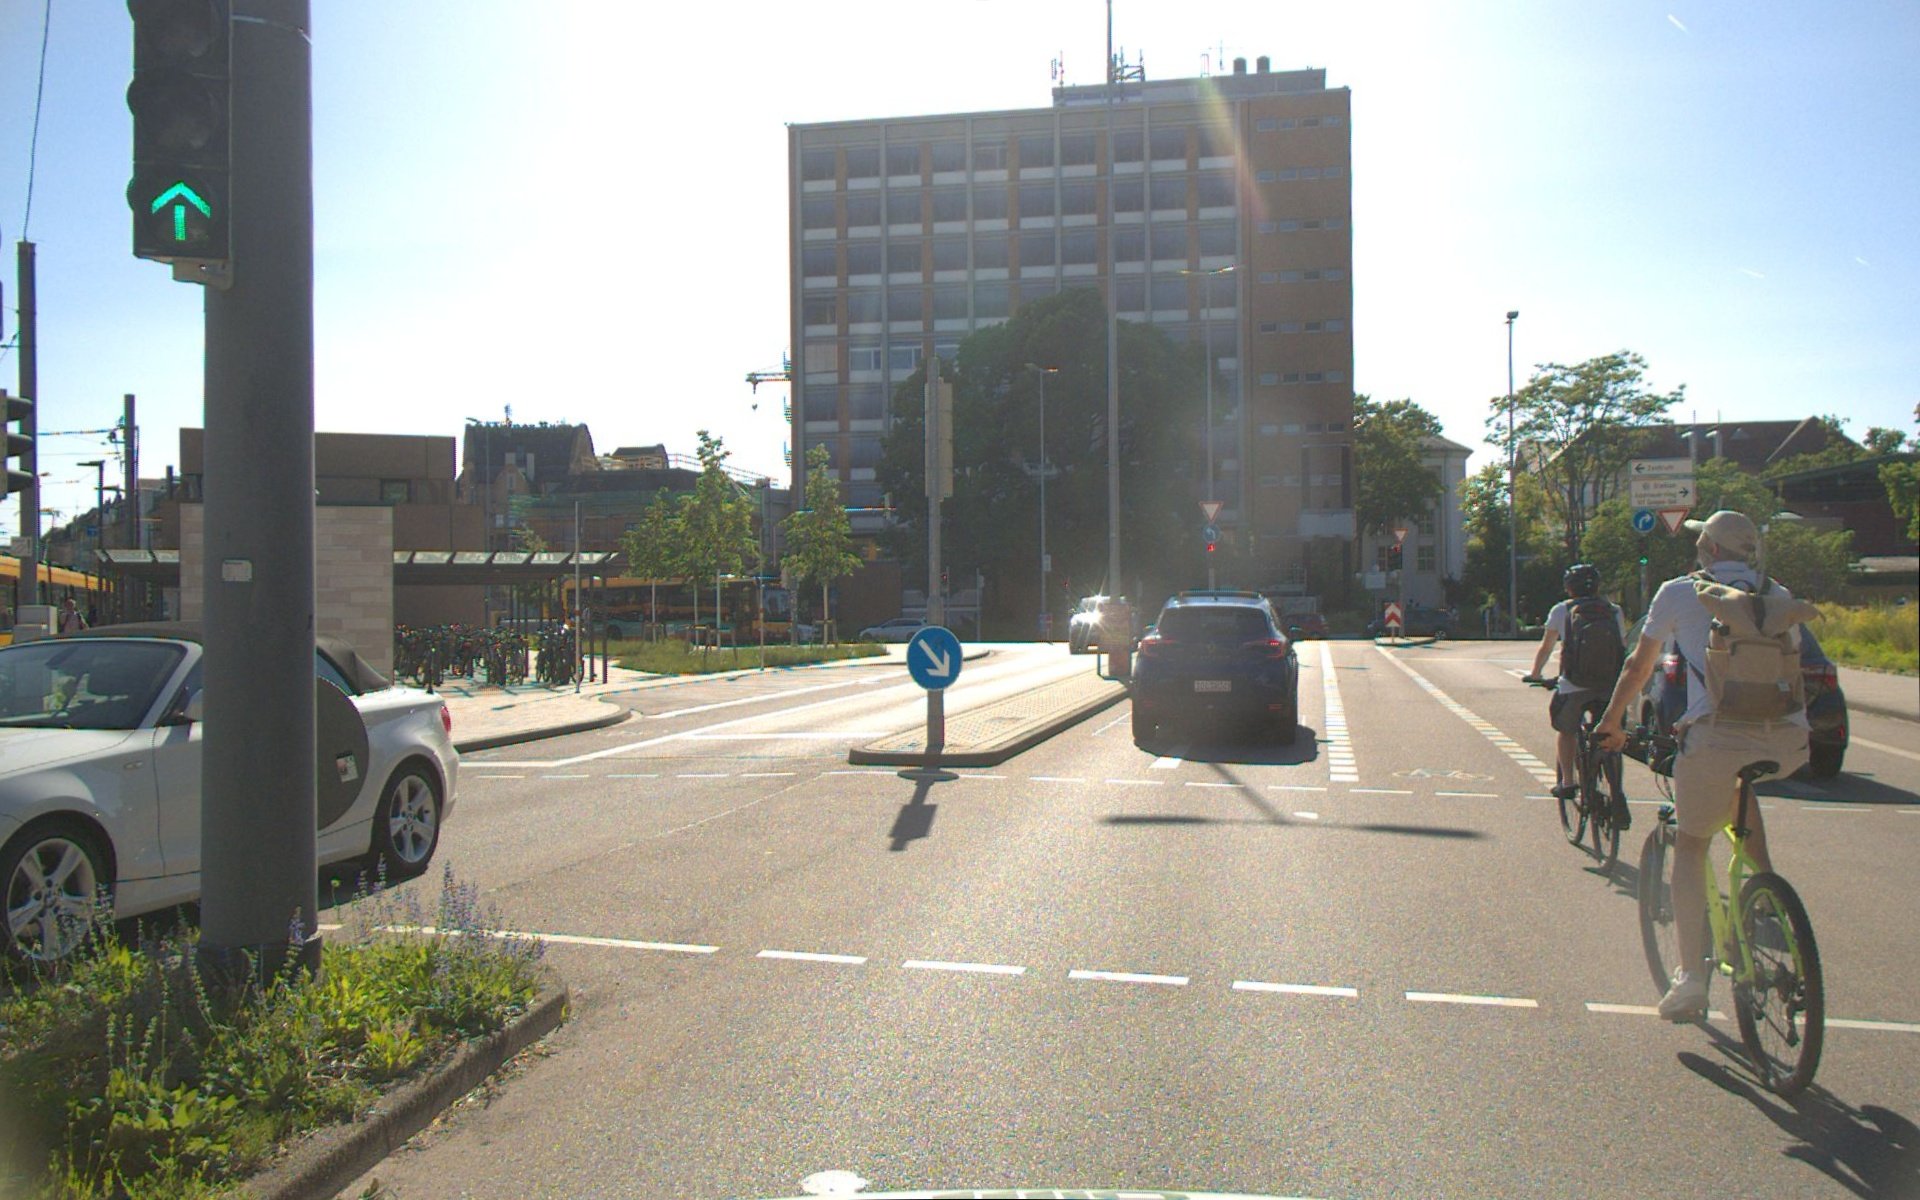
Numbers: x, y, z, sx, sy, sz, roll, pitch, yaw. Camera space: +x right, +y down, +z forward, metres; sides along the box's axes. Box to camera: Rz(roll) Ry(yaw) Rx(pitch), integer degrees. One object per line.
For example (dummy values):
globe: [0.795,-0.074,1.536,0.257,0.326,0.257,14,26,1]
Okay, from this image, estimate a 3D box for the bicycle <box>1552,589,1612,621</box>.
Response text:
bicycle: [30.877,0.250,82.152,2.742,1.568,0.885,0,-2,16]

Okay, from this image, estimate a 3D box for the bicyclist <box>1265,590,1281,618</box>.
bicyclist: [16.644,0.214,87.859,0.799,1.469,0.621,-1,0,8]

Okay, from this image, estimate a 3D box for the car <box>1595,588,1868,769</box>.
car: [7.503,0.722,16.435,1.718,1.569,3.661,0,-1,13]

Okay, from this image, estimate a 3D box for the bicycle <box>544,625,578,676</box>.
bicycle: [-8.550,1.075,35.407,0.571,1.070,1.962,1,-2,-17]

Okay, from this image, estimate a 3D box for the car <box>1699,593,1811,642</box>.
car: [34.637,0.781,72.192,4.259,2.049,1.999,0,-2,22]

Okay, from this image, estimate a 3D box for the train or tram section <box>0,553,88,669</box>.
train or tram section: [-31.576,0.397,55.804,2.832,3.569,10.468,0,-1,-23]

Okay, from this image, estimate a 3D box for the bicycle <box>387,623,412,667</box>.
bicycle: [-14.584,1.174,43.015,0.572,1.107,1.861,1,-2,-19]

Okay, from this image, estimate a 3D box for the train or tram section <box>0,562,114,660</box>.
train or tram section: [-35.548,0.446,65.444,2.832,3.569,10.468,0,-1,-23]

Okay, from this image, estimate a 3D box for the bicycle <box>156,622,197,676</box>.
bicycle: [-16.382,1.024,34.614,0.557,1.113,2.017,1,-2,-19]

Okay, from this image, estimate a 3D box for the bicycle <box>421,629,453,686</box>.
bicycle: [-10.228,1.118,32.353,0.571,1.076,1.807,1,-2,-17]

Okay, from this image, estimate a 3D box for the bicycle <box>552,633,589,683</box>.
bicycle: [-7.898,1.163,33.454,0.571,0.978,2.048,1,-2,-17]

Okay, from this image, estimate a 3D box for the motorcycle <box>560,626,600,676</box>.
motorcycle: [-9.331,1.249,40.547,0.544,1.197,1.905,1,-2,-26]

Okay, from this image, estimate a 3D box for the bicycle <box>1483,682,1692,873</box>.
bicycle: [3.792,1.032,10.152,0.707,0.976,1.885,0,0,5]

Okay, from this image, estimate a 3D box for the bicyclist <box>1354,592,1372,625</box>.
bicyclist: [22.866,0.483,93.814,0.863,1.829,1.161,0,-2,19]

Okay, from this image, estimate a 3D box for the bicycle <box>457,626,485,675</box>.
bicycle: [-11.327,1.173,38.274,0.571,1.107,2.048,1,-2,-17]

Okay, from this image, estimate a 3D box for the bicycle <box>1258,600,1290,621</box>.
bicycle: [16.665,0.566,87.876,1.630,1.112,0.611,-1,0,8]

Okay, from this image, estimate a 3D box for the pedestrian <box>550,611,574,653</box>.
pedestrian: [-16.766,1.363,69.668,0.641,1.772,0.787,-1,-2,28]

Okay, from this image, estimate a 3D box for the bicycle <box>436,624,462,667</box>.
bicycle: [-13.441,1.194,43.499,0.572,1.107,1.860,1,-2,-20]

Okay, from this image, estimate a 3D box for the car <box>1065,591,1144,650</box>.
car: [4.296,0.566,48.784,1.779,1.596,4.254,-2,0,12]

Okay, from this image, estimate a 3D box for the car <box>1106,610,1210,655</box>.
car: [9.377,1.550,78.363,4.556,2.049,1.999,0,-2,23]

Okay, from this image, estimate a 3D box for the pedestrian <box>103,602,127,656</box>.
pedestrian: [-29.732,1.017,58.193,0.623,1.889,0.699,1,-2,-20]

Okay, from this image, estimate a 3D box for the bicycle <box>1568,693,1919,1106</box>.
bicycle: [2.713,0.941,5.860,0.648,1.065,1.892,0,1,8]

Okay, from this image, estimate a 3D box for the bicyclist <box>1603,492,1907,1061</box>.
bicyclist: [2.687,0.540,5.693,0.649,1.777,1.006,0,1,8]

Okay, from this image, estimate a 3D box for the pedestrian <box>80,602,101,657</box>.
pedestrian: [-30.134,1.040,57.327,0.625,1.889,0.696,1,-2,-28]

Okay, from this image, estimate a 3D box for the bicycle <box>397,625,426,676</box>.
bicycle: [-12.413,1.143,37.474,0.571,1.107,2.048,1,-2,-17]

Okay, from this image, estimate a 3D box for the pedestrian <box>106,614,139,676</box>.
pedestrian: [-26.137,1.417,51.635,0.836,1.916,0.754,1,-2,-25]

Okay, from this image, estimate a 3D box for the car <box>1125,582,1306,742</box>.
car: [3.027,0.655,19.029,1.784,1.628,3.661,1,-1,13]

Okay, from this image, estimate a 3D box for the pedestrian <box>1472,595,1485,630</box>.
pedestrian: [25.496,0.600,81.286,0.545,1.699,0.476,-1,-2,28]

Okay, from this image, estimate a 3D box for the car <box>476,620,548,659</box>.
car: [-24.041,2.132,88.684,3.933,2.049,1.997,-1,-3,45]

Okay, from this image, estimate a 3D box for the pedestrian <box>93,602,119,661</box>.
pedestrian: [-27.751,1.032,53.761,0.595,1.889,0.789,1,-2,-20]

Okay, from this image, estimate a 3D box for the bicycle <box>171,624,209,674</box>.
bicycle: [-17.705,1.119,38.058,0.557,1.113,2.017,1,-2,-19]

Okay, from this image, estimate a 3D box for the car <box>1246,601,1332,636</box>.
car: [15.944,0.908,80.118,3.816,1.614,1.879,0,-2,23]

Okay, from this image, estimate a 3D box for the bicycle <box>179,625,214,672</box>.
bicycle: [-18.732,1.189,40.602,0.557,1.113,2.017,1,-2,-19]

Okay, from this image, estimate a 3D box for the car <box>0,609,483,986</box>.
car: [-4.146,0.839,8.046,1.761,1.418,4.095,-2,-3,12]

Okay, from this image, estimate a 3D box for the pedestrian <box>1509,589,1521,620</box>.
pedestrian: [30.533,0.260,90.937,0.565,1.699,0.562,-1,-2,23]

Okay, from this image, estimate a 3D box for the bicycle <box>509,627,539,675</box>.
bicycle: [-10.167,1.187,38.540,0.571,1.107,2.048,1,-2,-17]

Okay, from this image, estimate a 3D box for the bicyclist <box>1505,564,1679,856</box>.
bicyclist: [3.787,0.628,9.983,0.706,1.654,1.055,1,0,5]

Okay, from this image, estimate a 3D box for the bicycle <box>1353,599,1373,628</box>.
bicycle: [22.861,0.794,93.811,0.863,1.568,2.811,0,-2,19]

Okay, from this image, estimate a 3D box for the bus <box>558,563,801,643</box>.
bus: [-13.100,0.231,76.491,12.177,3.456,2.876,-1,-2,31]

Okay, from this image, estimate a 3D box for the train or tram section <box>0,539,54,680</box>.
train or tram section: [-27.547,0.302,46.142,2.832,3.569,10.468,0,-1,-23]

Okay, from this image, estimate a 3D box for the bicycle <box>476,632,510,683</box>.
bicycle: [-9.299,1.139,32.887,0.571,0.978,2.048,1,-2,-17]

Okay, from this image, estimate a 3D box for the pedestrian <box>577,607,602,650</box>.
pedestrian: [-15.256,1.183,68.061,0.613,1.772,0.787,-1,-2,28]

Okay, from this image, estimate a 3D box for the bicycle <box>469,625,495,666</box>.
bicycle: [-13.160,1.255,45.529,0.572,1.107,1.860,1,-2,-20]

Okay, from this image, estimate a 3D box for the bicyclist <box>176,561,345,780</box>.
bicyclist: [-5.607,0.553,13.316,0.861,1.673,1.060,-1,-1,2]

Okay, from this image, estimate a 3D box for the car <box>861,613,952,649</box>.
car: [-2.908,1.705,89.770,4.565,1.933,1.995,-1,-2,31]

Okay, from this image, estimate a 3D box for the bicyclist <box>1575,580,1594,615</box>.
bicyclist: [31.000,-0.106,82.105,0.840,1.722,0.885,0,-2,16]

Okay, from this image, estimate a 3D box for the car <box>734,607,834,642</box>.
car: [-8.234,1.160,77.359,4.314,1.548,1.966,-1,-2,30]

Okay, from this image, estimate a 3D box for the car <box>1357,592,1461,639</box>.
car: [20.136,0.698,74.153,4.283,2.049,1.999,0,-2,22]

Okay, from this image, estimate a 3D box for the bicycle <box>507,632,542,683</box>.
bicycle: [-8.719,1.147,33.073,0.571,0.978,2.048,1,-2,-17]
